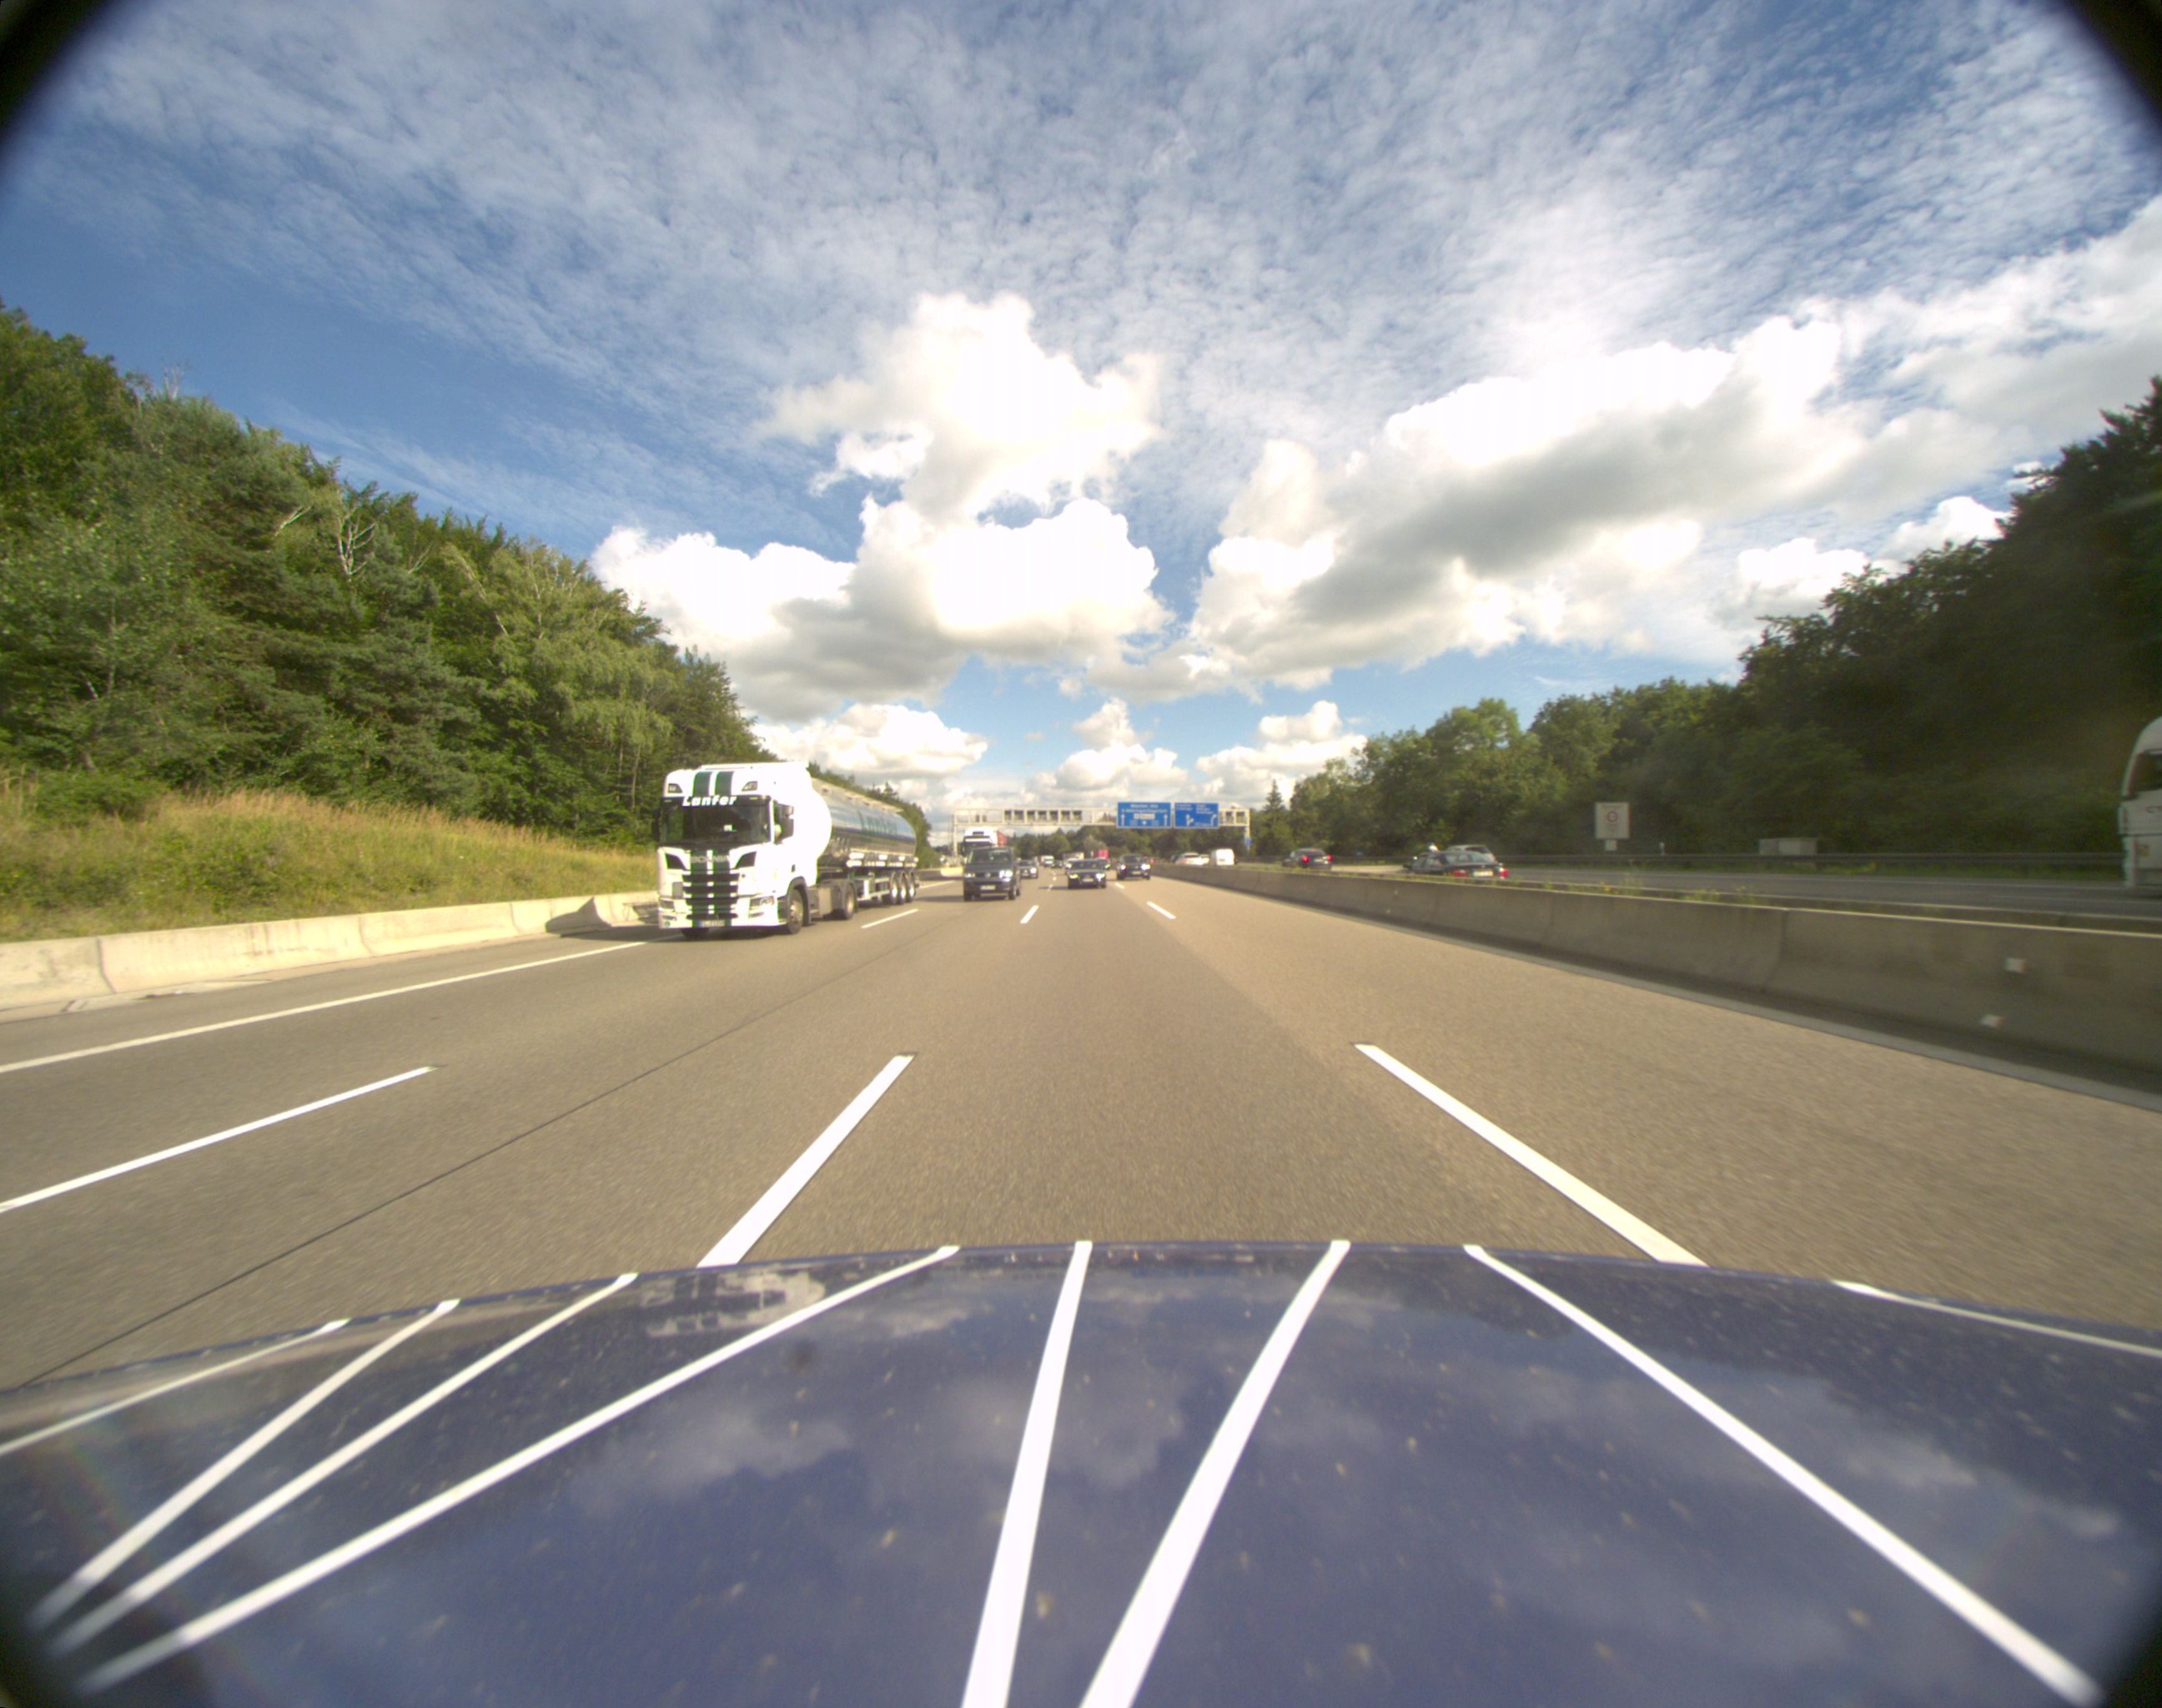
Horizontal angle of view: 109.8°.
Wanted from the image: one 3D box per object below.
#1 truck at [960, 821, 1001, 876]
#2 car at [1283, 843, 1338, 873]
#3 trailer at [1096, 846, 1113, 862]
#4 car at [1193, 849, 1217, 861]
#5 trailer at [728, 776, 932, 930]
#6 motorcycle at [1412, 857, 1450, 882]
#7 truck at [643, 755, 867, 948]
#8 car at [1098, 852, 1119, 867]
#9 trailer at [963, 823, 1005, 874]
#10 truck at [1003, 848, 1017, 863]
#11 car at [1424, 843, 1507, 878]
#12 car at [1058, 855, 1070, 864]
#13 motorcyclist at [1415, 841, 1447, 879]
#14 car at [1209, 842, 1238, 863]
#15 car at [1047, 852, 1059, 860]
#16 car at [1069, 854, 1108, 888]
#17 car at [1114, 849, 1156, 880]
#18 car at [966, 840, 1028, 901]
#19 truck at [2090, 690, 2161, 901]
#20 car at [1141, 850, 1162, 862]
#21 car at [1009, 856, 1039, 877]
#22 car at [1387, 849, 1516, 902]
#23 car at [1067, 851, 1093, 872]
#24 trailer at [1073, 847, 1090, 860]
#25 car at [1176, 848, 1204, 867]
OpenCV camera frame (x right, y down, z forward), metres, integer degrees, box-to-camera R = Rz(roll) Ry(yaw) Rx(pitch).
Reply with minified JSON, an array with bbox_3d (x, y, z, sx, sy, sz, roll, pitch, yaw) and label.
[{"bbox_3d":[-7.918,-0.398,60.377,2.782,4.021,5.771,-2,0,-4],"label":"truck"},{"bbox_3d":[13.805,0.214,45.996,1.998,1.677,4.679,-2,0,2],"label":"car"},{"bbox_3d":[6.353,0.106,206.862,2.747,4.082,13.409,-2,0,-6],"label":"trailer"},{"bbox_3d":[15.874,0.086,97.270,2.077,1.464,4.670,-2,0,-2],"label":"car"},{"bbox_3d":[-7.350,0.006,24.661,2.655,3.745,11.859,-1,0,0],"label":"trailer"},{"bbox_3d":[14.114,0.607,30.683,0.483,0.950,2.251,-2,0,0],"label":"motorcycle"},{"bbox_3d":[-7.343,-0.038,18.155,2.655,3.800,6.082,-1,0,0],"label":"truck"},{"bbox_3d":[3.081,0.590,86.831,2.153,1.540,4.676,-2,0,-1],"label":"car"},{"bbox_3d":[-8.406,-0.407,67.211,2.782,4.021,13.708,-2,0,-4],"label":"trailer"},{"bbox_3d":[-17.241,0.350,184.114,3.019,3.662,7.557,-1,0,-6],"label":"truck"},{"bbox_3d":[18.055,0.265,35.894,1.852,1.489,4.129,-2,0,1],"label":"car"},{"bbox_3d":[-2.999,0.976,132.752,2.153,1.540,4.676,-2,0,-2],"label":"car"},{"bbox_3d":[14.080,0.230,30.620,0.756,1.468,1.075,-2,1,-1],"label":"motorcyclist"},{"bbox_3d":[13.669,-0.144,73.245,1.998,1.826,4.730,-2,0,2],"label":"car"},{"bbox_3d":[-6.115,0.451,165.678,2.154,1.806,4.674,-2,0,-8],"label":"car"},{"bbox_3d":[0.324,0.785,37.371,1.733,1.500,4.727,-2,0,-1],"label":"car"},{"bbox_3d":[3.332,0.609,48.092,2.153,1.800,5.098,-2,0,-1],"label":"car"},{"bbox_3d":[-3.157,0.565,29.379,1.854,2.097,4.931,-2,0,-1],"label":"car"},{"bbox_3d":[22.112,-1.155,12.316,2.713,4.045,6.597,-2,0,0],"label":"truck"},{"bbox_3d":[8.713,0.261,94.668,1.999,1.382,4.747,-2,0,-2],"label":"car"},{"bbox_3d":[-4.372,0.924,59.296,2.153,1.426,5.097,-2,0,-3],"label":"car"},{"bbox_3d":[10.361,0.538,21.616,1.688,1.299,4.198,-2,0,2],"label":"car"},{"bbox_3d":[-0.156,0.624,69.674,2.153,1.800,5.098,-2,0,-2],"label":"car"},{"bbox_3d":[0.173,-0.084,253.269,3.328,4.082,14.144,-2,0,-9],"label":"trailer"},{"bbox_3d":[9.474,0.312,66.196,1.758,1.499,4.680,-2,0,1],"label":"car"}]
